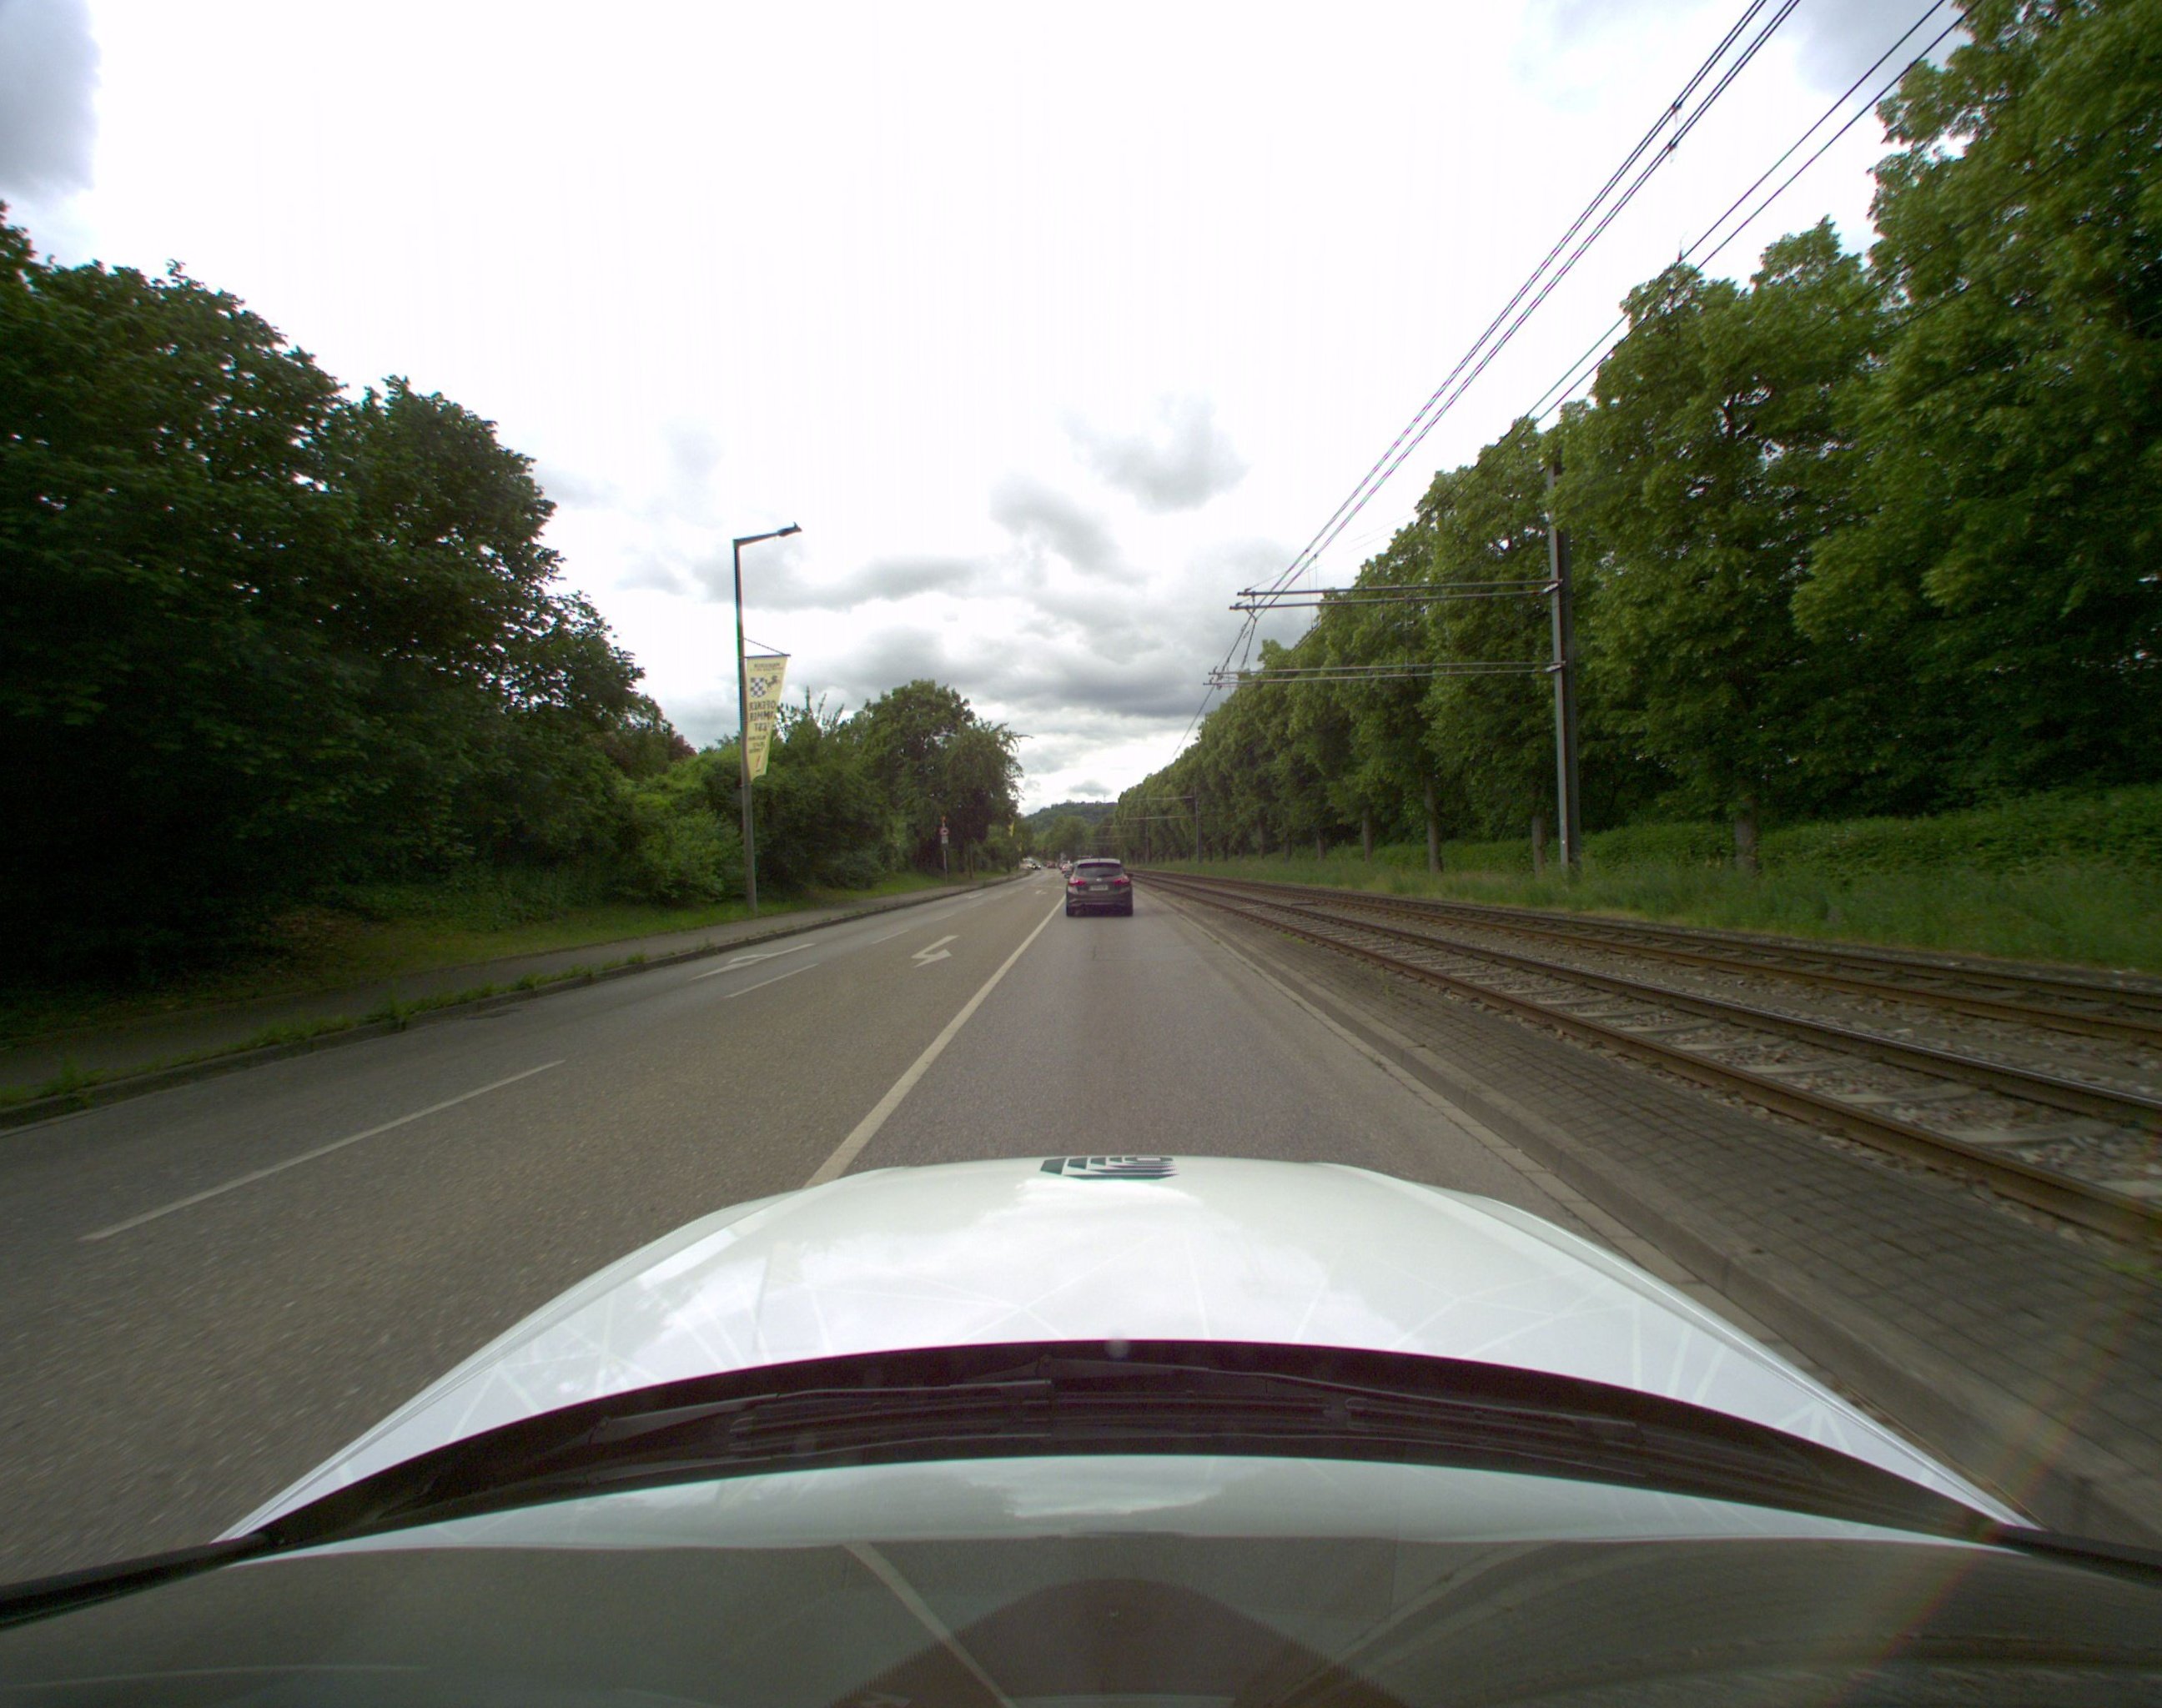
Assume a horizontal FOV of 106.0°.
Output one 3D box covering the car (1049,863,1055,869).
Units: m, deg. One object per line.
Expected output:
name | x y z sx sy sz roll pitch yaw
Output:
car | -8.437 3.405 239.201 1.694 1.714 3.999 -1 -1 0

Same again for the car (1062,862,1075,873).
car | -1.646 1.867 112.368 1.694 1.444 3.999 -1 -1 0

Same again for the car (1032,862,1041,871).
car | -11.087 3.140 204.279 1.988 2.036 5.111 -1 -1 -2

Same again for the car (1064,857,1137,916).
car | 0.557 0.845 22.788 1.844 1.493 4.001 0 0 1

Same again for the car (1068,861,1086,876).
car | -0.399 1.420 79.377 1.694 1.444 4.000 -1 -1 1

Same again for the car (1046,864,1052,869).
car | -9.811 3.862 252.123 1.694 1.714 3.999 -1 -1 0

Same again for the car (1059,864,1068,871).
car | -3.774 2.907 175.872 1.788 1.510 3.999 -1 -1 0

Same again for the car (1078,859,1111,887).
car | 0.707 1.044 45.687 1.695 1.444 3.998 -1 -1 -1
